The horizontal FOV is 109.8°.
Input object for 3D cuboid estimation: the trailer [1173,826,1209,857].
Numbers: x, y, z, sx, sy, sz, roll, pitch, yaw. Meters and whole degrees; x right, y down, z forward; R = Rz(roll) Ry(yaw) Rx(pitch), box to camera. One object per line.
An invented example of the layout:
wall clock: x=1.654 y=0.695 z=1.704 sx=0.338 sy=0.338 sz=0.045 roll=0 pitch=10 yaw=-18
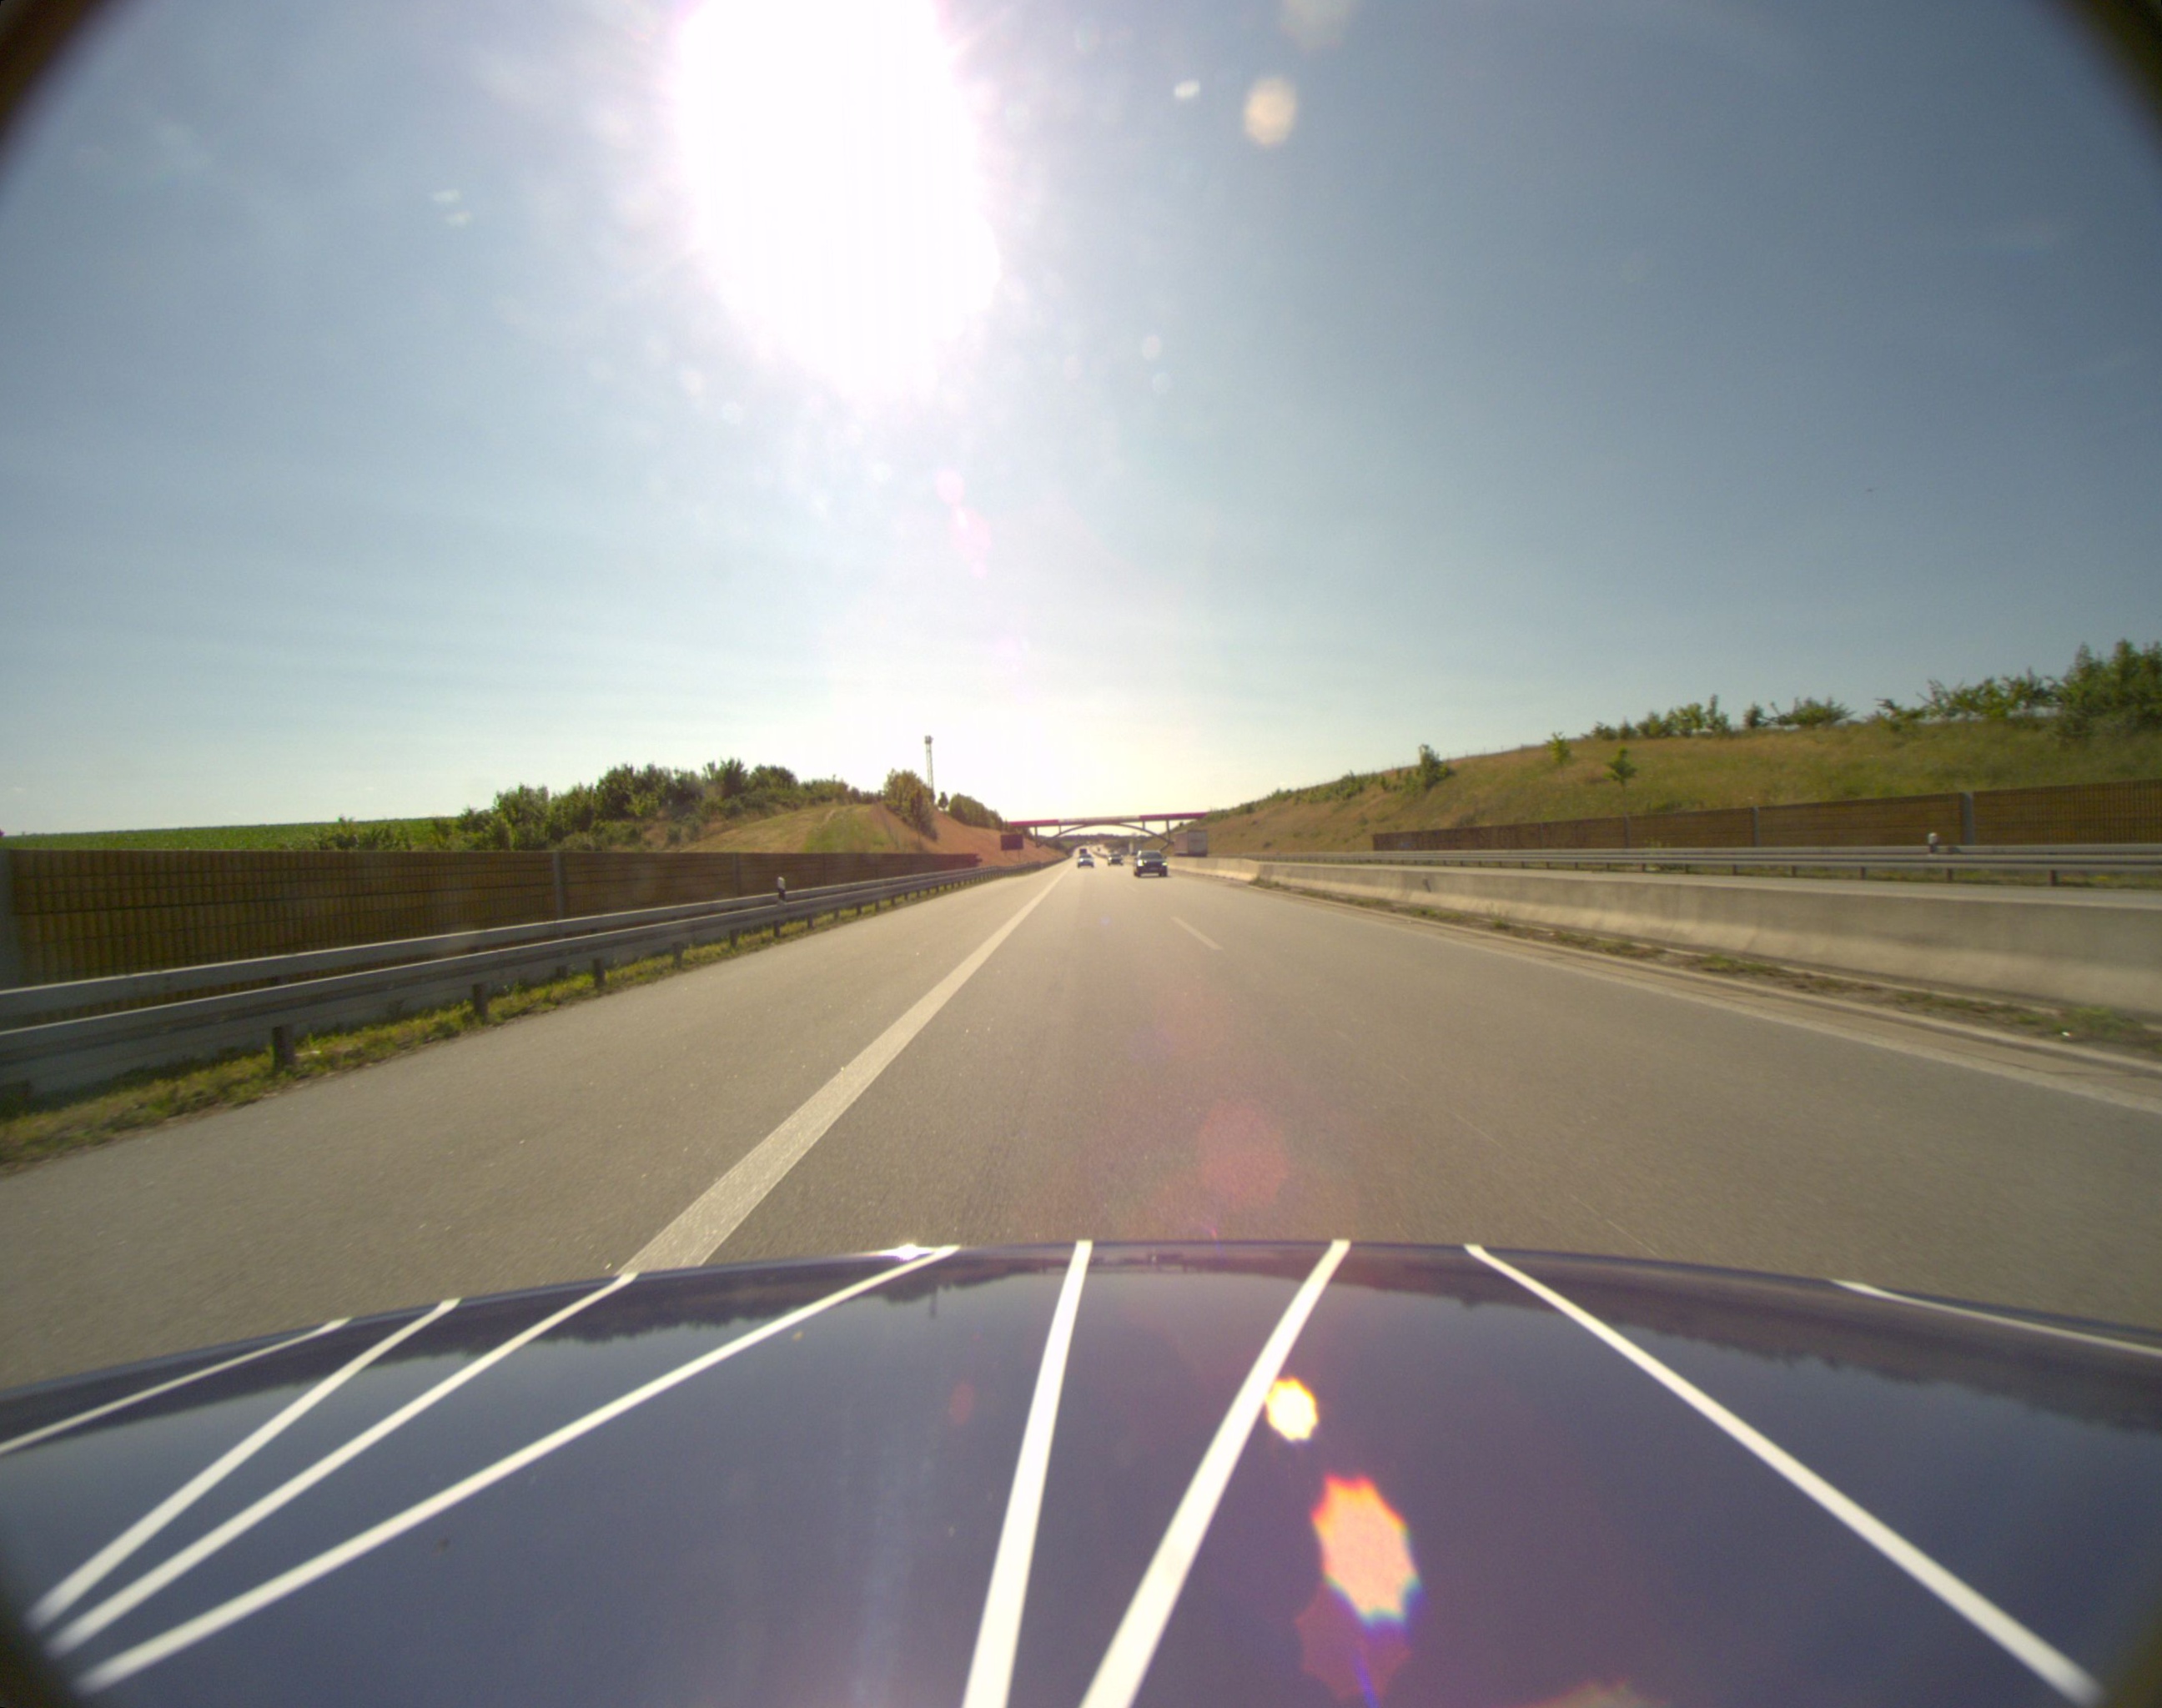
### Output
trailer: x=14.840 y=-1.716 z=103.668 sx=2.645 sy=3.853 sz=13.732 roll=-2 pitch=1 yaw=-1

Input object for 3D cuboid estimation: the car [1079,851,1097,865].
car: x=0.843 y=0.406 z=85.250 sx=1.909 sy=1.449 sz=4.375 roll=-2 pitch=1 yaw=2

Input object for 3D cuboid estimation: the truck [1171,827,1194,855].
truck: x=14.777 y=-1.813 z=110.931 sx=2.644 sy=3.899 sz=4.893 roll=-2 pitch=1 yaw=0

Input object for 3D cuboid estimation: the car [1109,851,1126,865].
car: x=4.403 y=0.520 z=92.635 sx=1.776 sy=1.560 sz=4.988 roll=-2 pitch=1 yaw=1

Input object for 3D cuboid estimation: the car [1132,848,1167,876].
car: x=4.205 y=0.482 z=47.554 sx=1.726 sy=1.578 sz=5.221 roll=-2 pitch=1 yaw=1

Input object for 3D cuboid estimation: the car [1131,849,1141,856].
car: x=11.665 y=-0.361 z=160.607 sx=1.690 sy=1.496 sz=4.162 roll=-2 pitch=0 yaw=-1

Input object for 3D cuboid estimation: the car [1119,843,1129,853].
car: x=11.326 y=-1.603 z=202.229 sx=2.211 sy=2.441 sz=5.831 roll=-2 pitch=1 yaw=0

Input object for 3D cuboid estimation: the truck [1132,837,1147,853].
truck: x=16.244 y=-2.387 z=211.906 sx=3.023 sy=4.284 sz=12.733 roll=-2 pitch=0 yaw=1
